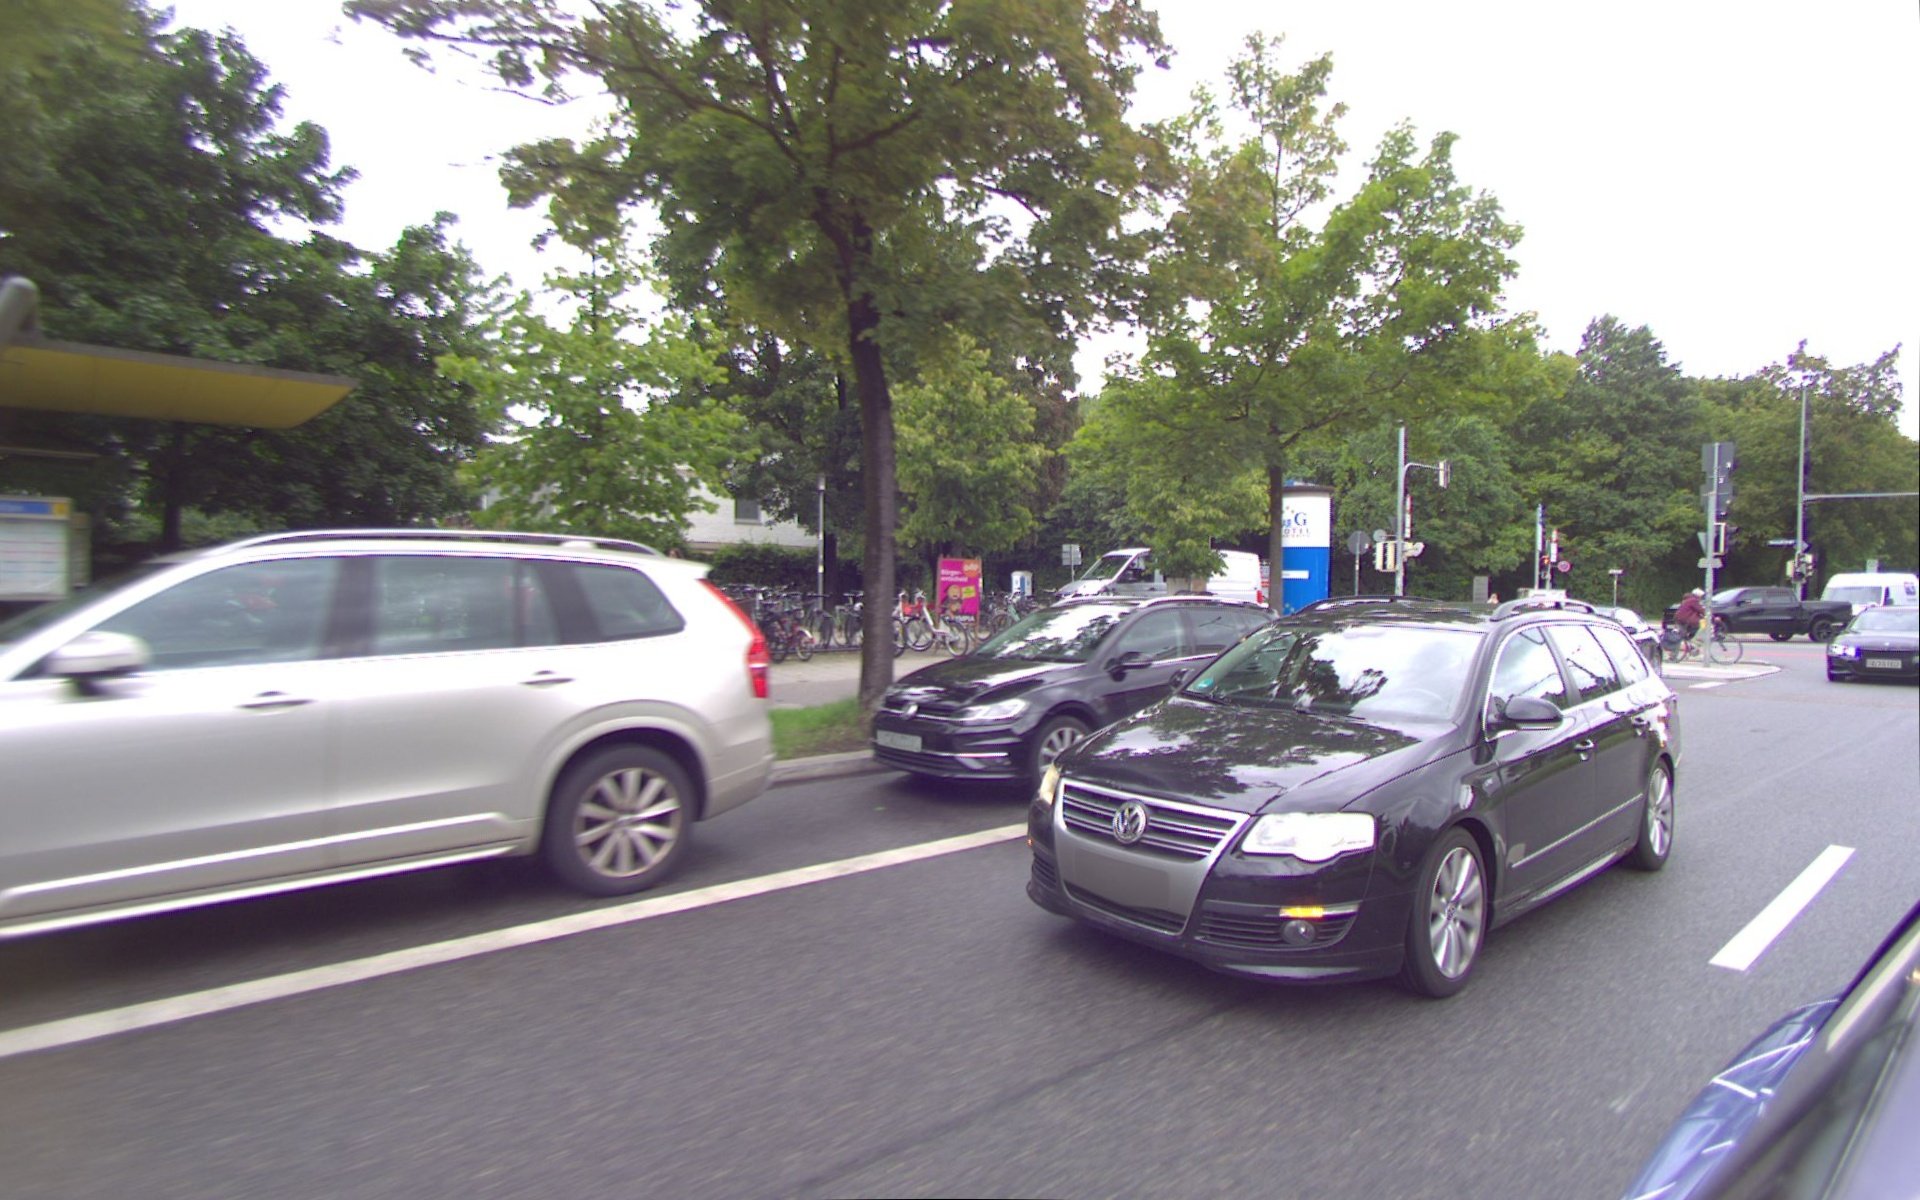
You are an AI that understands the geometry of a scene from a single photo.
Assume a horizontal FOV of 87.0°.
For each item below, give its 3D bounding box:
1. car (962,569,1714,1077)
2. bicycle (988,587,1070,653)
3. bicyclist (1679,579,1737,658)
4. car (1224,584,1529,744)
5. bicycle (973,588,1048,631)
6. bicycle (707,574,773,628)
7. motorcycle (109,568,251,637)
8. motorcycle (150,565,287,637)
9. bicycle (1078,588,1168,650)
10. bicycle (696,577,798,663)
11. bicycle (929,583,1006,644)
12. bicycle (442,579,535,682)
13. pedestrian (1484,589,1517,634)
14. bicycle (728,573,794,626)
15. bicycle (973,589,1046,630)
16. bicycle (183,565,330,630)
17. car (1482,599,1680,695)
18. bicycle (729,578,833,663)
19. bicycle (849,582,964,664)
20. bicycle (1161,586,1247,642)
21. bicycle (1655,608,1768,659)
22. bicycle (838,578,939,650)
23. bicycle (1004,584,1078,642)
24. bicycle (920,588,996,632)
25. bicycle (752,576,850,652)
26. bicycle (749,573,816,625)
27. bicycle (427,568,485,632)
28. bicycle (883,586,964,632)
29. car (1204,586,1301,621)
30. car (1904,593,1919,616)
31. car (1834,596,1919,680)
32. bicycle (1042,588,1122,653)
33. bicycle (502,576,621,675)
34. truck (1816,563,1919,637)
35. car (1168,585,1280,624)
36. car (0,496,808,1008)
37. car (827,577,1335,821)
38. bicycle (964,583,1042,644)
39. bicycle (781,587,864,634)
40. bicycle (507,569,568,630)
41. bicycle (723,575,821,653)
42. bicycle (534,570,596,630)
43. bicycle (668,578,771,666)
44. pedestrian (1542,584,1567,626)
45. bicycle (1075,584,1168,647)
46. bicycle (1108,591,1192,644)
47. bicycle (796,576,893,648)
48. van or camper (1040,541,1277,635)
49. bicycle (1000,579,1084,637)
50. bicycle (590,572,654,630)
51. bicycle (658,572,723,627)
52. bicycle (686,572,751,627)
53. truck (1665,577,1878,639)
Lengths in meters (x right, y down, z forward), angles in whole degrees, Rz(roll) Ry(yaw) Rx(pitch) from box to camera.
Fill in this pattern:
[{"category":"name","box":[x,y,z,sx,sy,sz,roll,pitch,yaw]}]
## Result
[{"category":"car","box":[2.276,0.634,5.191,4.592,1.493,1.749,0,1,-43]},{"category":"bicycle","box":[1.338,0.366,19.858,0.556,1.156,1.813,0,3,-35]},{"category":"bicyclist","box":[17.237,0.404,23.344,0.815,1.786,0.743,1,1,14]},{"category":"car","box":[5.134,0.618,12.172,4.307,1.567,1.715,0,1,-42]},{"category":"bicycle","box":[1.435,0.270,29.113,2.088,1.168,0.719,1,1,0]},{"category":"bicycle","box":[-5.481,-0.005,25.151,0.520,1.171,2.344,1,3,-41]},{"category":"motorcycle","box":[-12.715,0.035,16.533,1.778,1.075,0.659,1,1,-2]},{"category":"motorcycle","box":[-12.742,0.017,17.446,1.775,1.192,0.660,1,1,-15]},{"category":"bicycle","box":[3.398,0.371,21.207,1.803,1.156,0.559,4,3,39]},{"category":"bicycle","box":[-3.452,0.282,16.226,0.520,1.171,2.344,1,3,-41]},{"category":"bicycle","box":[0.140,0.259,21.432,0.557,1.156,1.810,0,3,-40]},{"category":"bicycle","box":[-6.425,0.361,13.718,0.520,1.171,2.344,1,3,-41]},{"category":"pedestrian","box":[18.832,0.392,35.256,0.722,1.558,0.694,0,1,-21]},{"category":"bicycle","box":[-5.038,-0.038,25.528,0.520,1.171,2.344,1,3,-41]},{"category":"bicycle","box":[1.454,0.267,29.920,2.088,1.168,0.719,1,1,0]},{"category":"bicycle","box":[-13.593,-0.050,19.608,2.303,1.171,0.529,0,3,-39]},{"category":"car","box":[10.501,0.676,16.963,4.543,1.377,1.712,0,0,-43]},{"category":"bicycle","box":[-2.954,0.296,16.476,0.520,1.171,2.344,1,3,-41]},{"category":"bicycle","box":[-0.939,0.343,16.949,0.574,1.171,2.344,1,3,-41]},{"category":"bicycle","box":[5.724,0.315,23.679,1.962,1.213,0.864,0,3,-37]},{"category":"bicycle","box":[17.294,0.757,23.334,1.919,1.094,0.745,1,1,14]},{"category":"bicycle","box":[-1.381,0.232,19.048,0.574,1.171,2.344,1,3,-41]},{"category":"bicycle","box":[1.759,0.265,22.172,0.556,1.156,1.813,0,3,-35]},{"category":"bicycle","box":[-0.056,0.272,28.289,2.088,1.168,0.719,1,1,0]},{"category":"bicycle","box":[-2.898,0.212,18.216,0.574,1.171,2.344,1,3,-41]},{"category":"bicycle","box":[-4.555,-0.039,25.858,0.520,1.171,2.344,1,3,-41]},{"category":"bicycle","box":[-10.633,-0.028,21.312,0.520,1.171,2.344,1,3,-41]},{"category":"bicycle","box":[-0.963,0.241,27.125,2.090,1.168,0.718,1,1,4]},{"category":"car","box":[13.236,0.117,45.975,3.934,1.472,1.603,2,1,42]},{"category":"car","box":[72.132,0.345,75.850,4.183,1.670,1.750,0,1,-43]},{"category":"car","box":[18.439,0.665,19.478,4.589,1.447,1.818,0,1,-41]},{"category":"bicycle","box":[2.399,0.375,20.154,0.556,1.156,1.814,1,3,-31]},{"category":"bicycle","box":[-5.595,0.307,14.127,2.337,1.171,0.521,5,3,41]},{"category":"truck","box":[35.315,-0.053,38.792,7.089,2.636,2.000,0,1,-35]},{"category":"car","box":[11.229,0.149,43.245,1.856,1.516,4.304,0,1,-44]},{"category":"car","box":[-3.226,0.513,4.653,4.820,1.746,1.750,0,0,-41]},{"category":"car","box":[1.254,0.637,8.671,4.561,1.567,1.750,0,0,-42]},{"category":"bicycle","box":[0.884,0.266,21.507,0.557,1.156,1.810,0,3,-40]},{"category":"bicycle","box":[-3.655,0.269,27.006,2.092,1.168,0.717,1,1,7]},{"category":"bicycle","box":[-9.298,-0.030,22.228,0.520,1.171,2.344,1,3,-41]},{"category":"bicycle","box":[-3.343,0.213,17.815,0.574,1.171,2.344,1,3,-41]},{"category":"bicycle","box":[-8.819,-0.031,22.564,0.520,1.171,2.344,1,3,-41]},{"category":"bicycle","box":[-3.781,0.299,15.779,0.520,1.171,2.344,1,3,-41]},{"category":"pedestrian","box":[25.438,0.205,43.280,0.758,1.724,0.926,1,1,40]},{"category":"bicycle","box":[3.485,0.314,21.984,1.936,1.227,0.559,4,3,39]},{"category":"bicycle","box":[4.289,0.380,22.928,1.803,1.084,0.559,4,3,39]},{"category":"bicycle","box":[-2.208,0.193,19.036,0.574,1.171,2.344,1,3,-41]},{"category":"van or camper","box":[5.369,-0.304,27.242,6.069,2.325,2.153,0,1,-23]},{"category":"bicycle","box":[1.875,0.167,23.365,1.936,1.227,0.559,4,3,39]},{"category":"bicycle","box":[-7.781,-0.005,23.220,0.520,1.171,2.344,1,3,-41]},{"category":"bicycle","box":[-6.532,-0.035,24.453,0.520,1.171,2.344,1,3,-41]},{"category":"bicycle","box":[-5.946,-0.036,24.811,0.520,1.171,2.344,1,3,-41]},{"category":"truck","box":[28.590,0.244,35.815,5.704,2.039,2.105,1,1,2]}]
